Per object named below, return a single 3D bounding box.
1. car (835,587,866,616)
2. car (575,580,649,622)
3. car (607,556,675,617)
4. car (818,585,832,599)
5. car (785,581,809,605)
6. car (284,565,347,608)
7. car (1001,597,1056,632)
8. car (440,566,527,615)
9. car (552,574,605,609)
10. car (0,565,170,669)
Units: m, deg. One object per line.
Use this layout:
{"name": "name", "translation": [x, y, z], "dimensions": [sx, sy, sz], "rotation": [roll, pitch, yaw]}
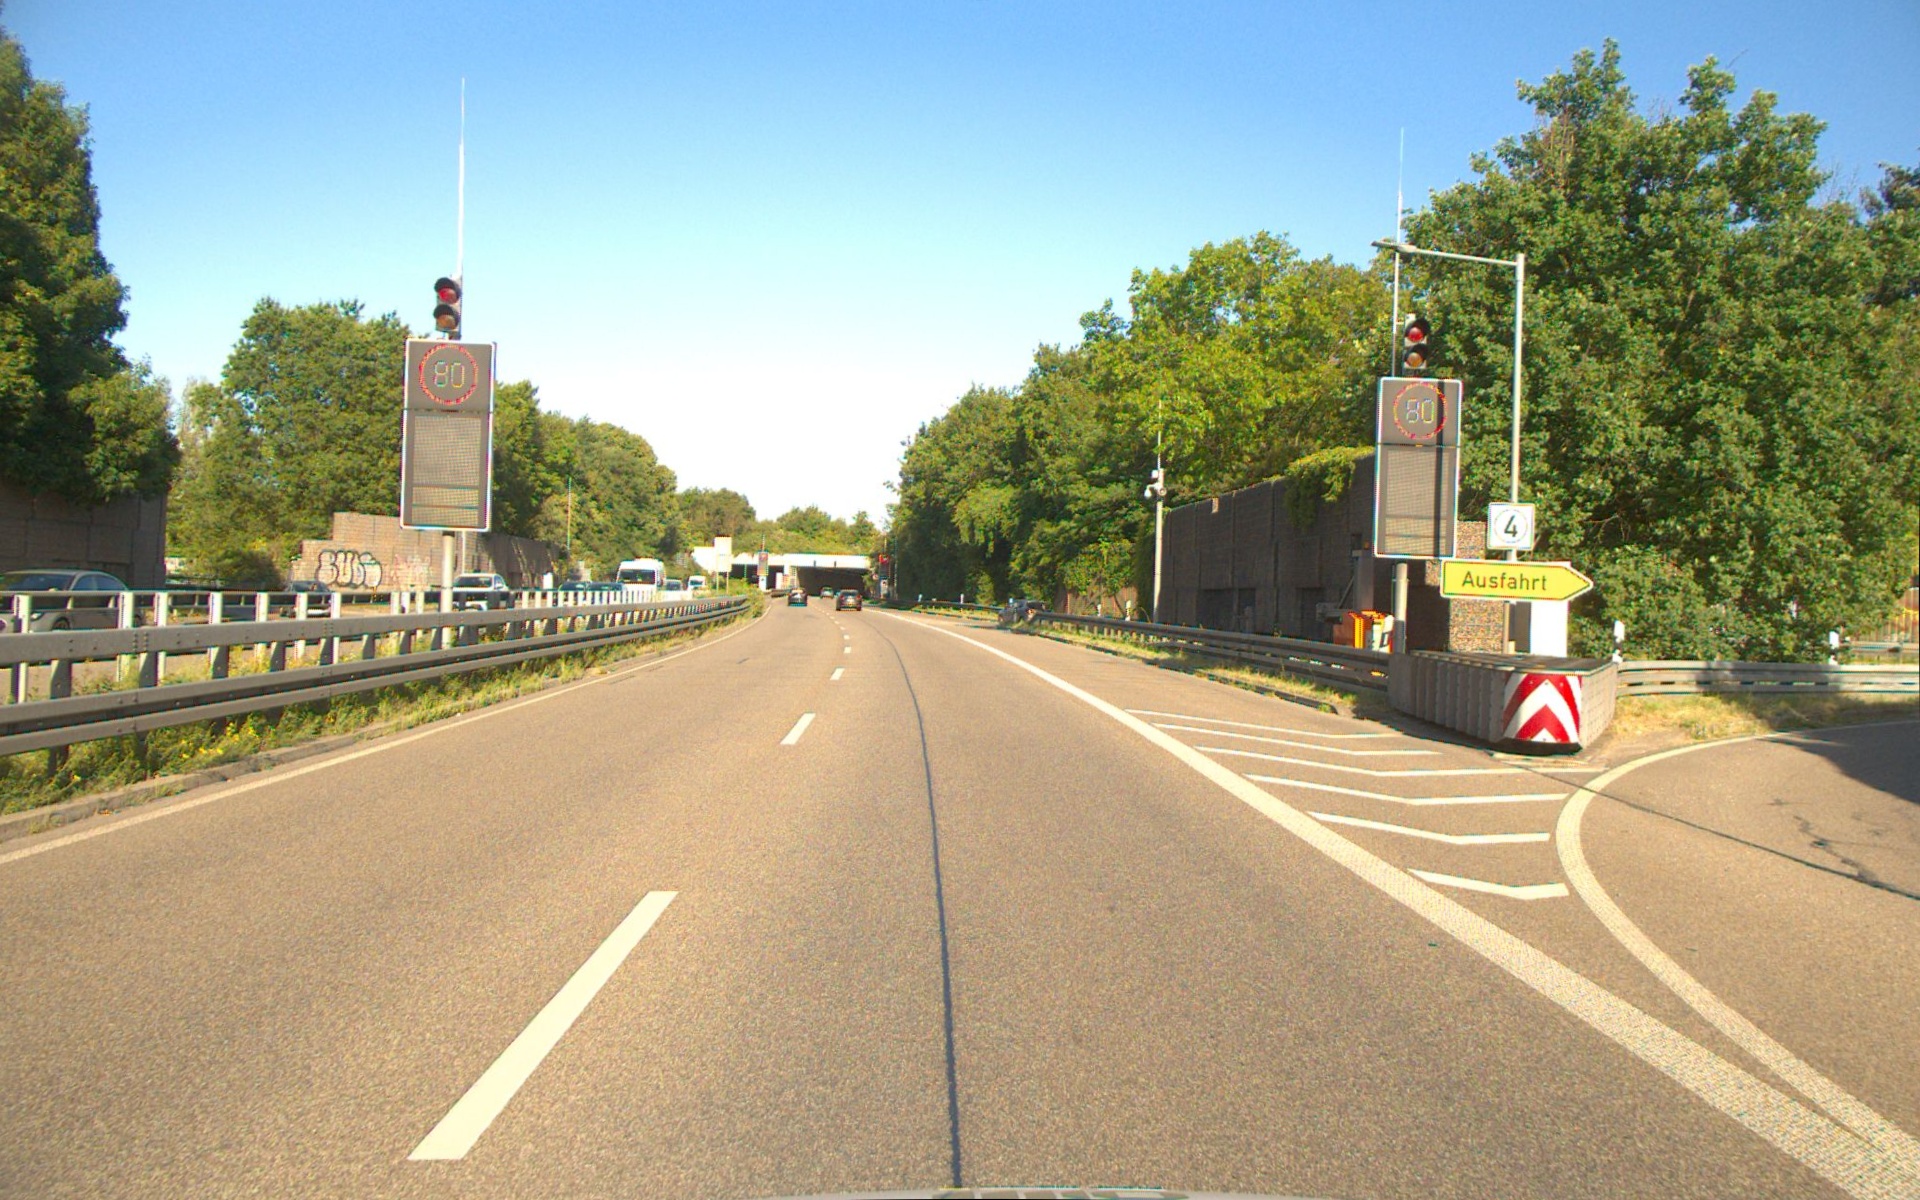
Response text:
{"name": "car", "translation": [-7.919, 0.062, 119.432], "dimensions": [1.956, 1.959, 3.994], "rotation": [2, 1, -8]}
{"name": "car", "translation": [-13.627, 0.001, 65.088], "dimensions": [1.954, 1.459, 5.088], "rotation": [3, 1, -2]}
{"name": "car", "translation": [-15.311, -0.677, 79.673], "dimensions": [2.079, 2.729, 6.585], "rotation": [3, 1, -2]}
{"name": "car", "translation": [-20.123, -1.230, 246.144], "dimensions": [1.956, 1.959, 3.994], "rotation": [2, 1, -7]}
{"name": "car", "translation": [-14.269, -0.605, 144.713], "dimensions": [1.956, 1.959, 3.994], "rotation": [2, 1, -8]}
{"name": "car", "translation": [-24.580, -0.542, 63.027], "dimensions": [1.968, 1.412, 3.999], "rotation": [3, 1, -24]}
{"name": "car", "translation": [3.552, 0.716, 86.080], "dimensions": [1.640, 1.579, 3.984], "rotation": [3, 1, -16]}
{"name": "car", "translation": [-17.511, -0.390, 61.003], "dimensions": [1.954, 1.623, 4.619], "rotation": [3, 1, -2]}
{"name": "car", "translation": [-19.616, -0.456, 85.246], "dimensions": [1.864, 1.648, 4.693], "rotation": [3, 1, -4]}
{"name": "car", "translation": [-15.417, 0.225, 28.024], "dimensions": [1.954, 1.505, 4.533], "rotation": [3, 1, -2]}
